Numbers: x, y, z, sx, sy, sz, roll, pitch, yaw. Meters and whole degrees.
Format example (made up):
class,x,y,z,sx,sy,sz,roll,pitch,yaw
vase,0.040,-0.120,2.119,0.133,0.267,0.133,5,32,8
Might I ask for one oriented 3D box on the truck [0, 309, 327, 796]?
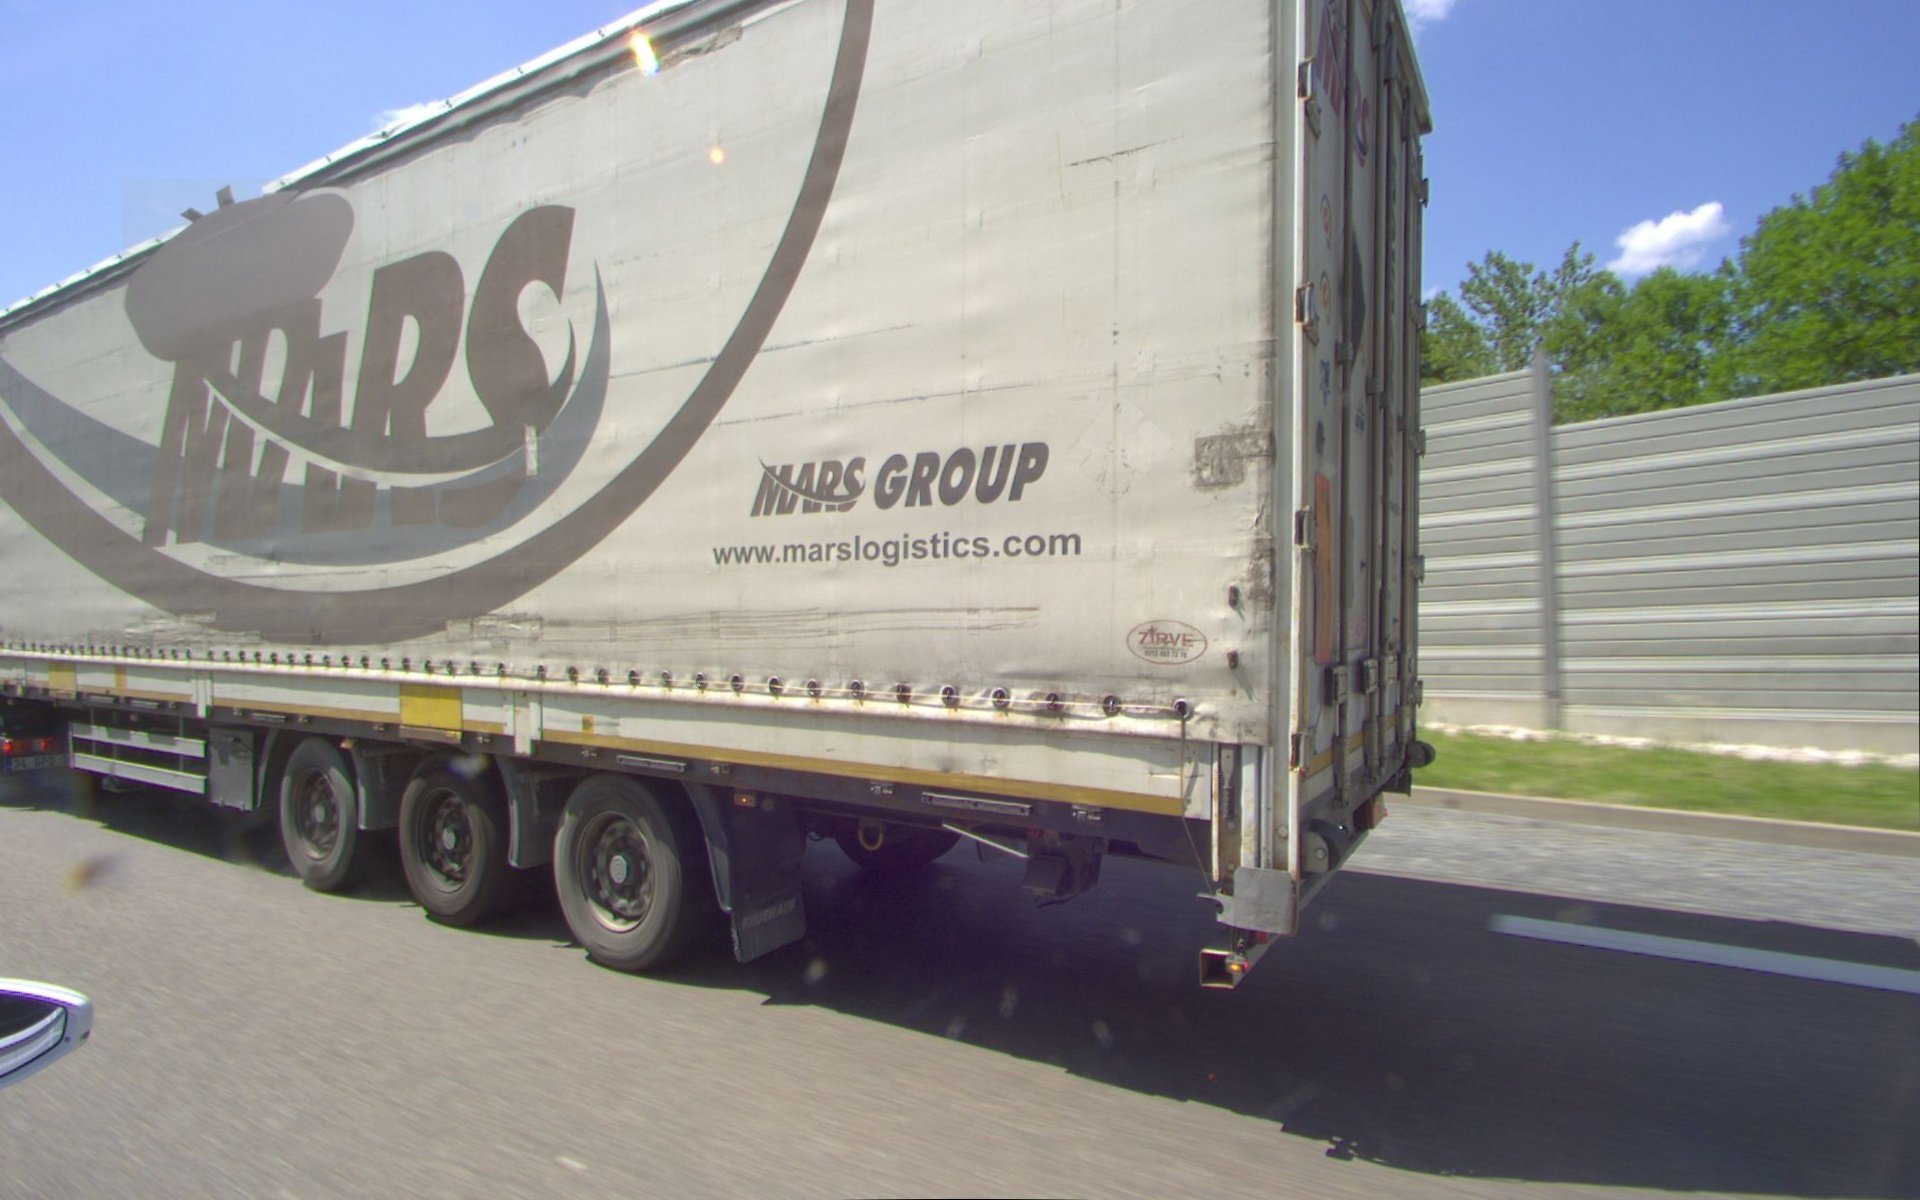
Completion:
class,x,y,z,sx,sy,sz,roll,pitch,yaw
truck,-9.889,-0.290,11.048,5.672,4.119,2.715,-2,-2,32

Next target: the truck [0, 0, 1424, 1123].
class,x,y,z,sx,sy,sz,roll,pitch,yaw
truck,-4.151,-0.466,7.436,13.545,4.119,2.722,-2,-2,32
